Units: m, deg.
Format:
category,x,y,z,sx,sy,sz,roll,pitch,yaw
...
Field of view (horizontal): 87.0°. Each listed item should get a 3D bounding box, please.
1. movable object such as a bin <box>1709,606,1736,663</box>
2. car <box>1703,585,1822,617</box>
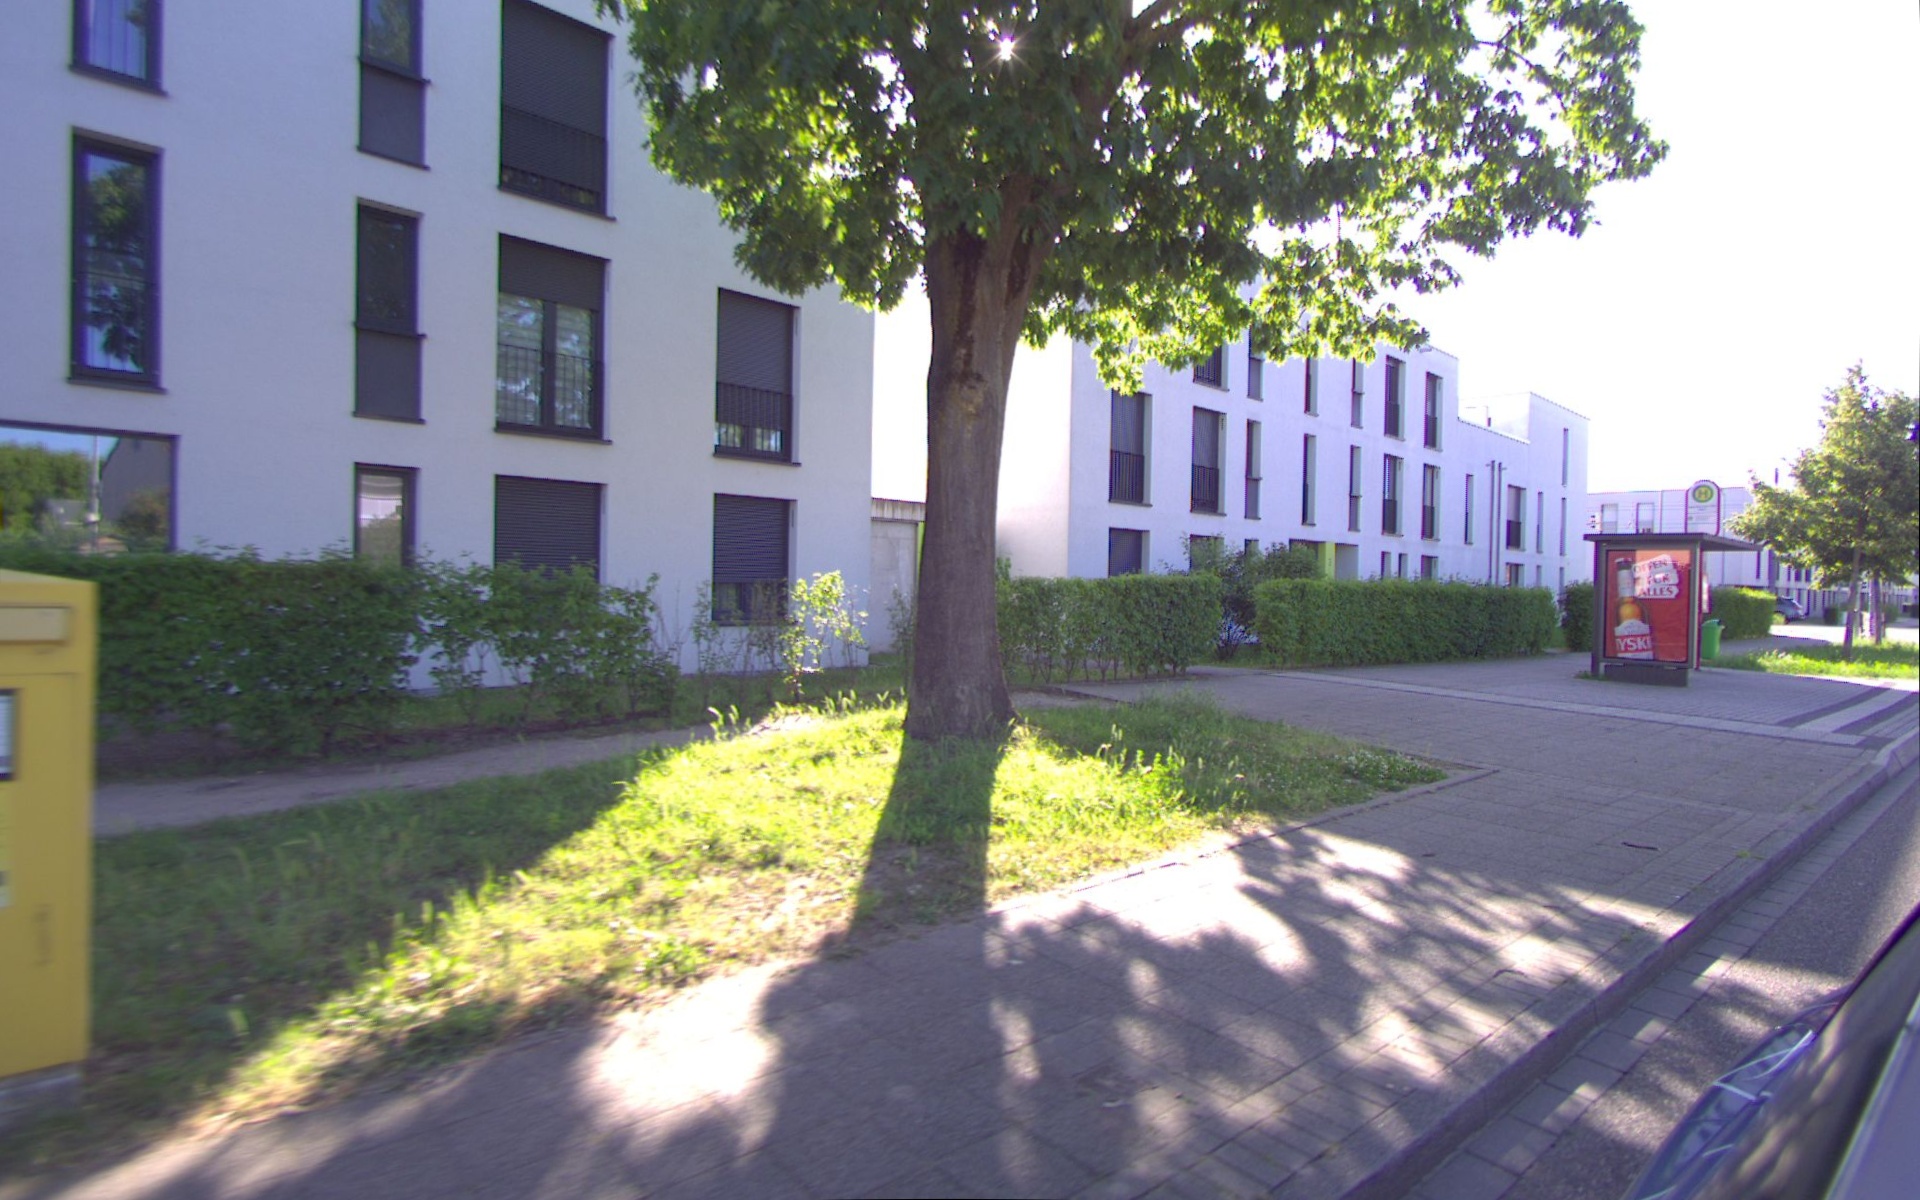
category,x,y,z,sx,sy,sz,roll,pitch,yaw
movable object such as a bin,14.232,0.633,18.886,0.368,1.029,0.591,1,1,38
car,47.433,0.029,59.921,1.964,1.759,5.193,0,1,-40
